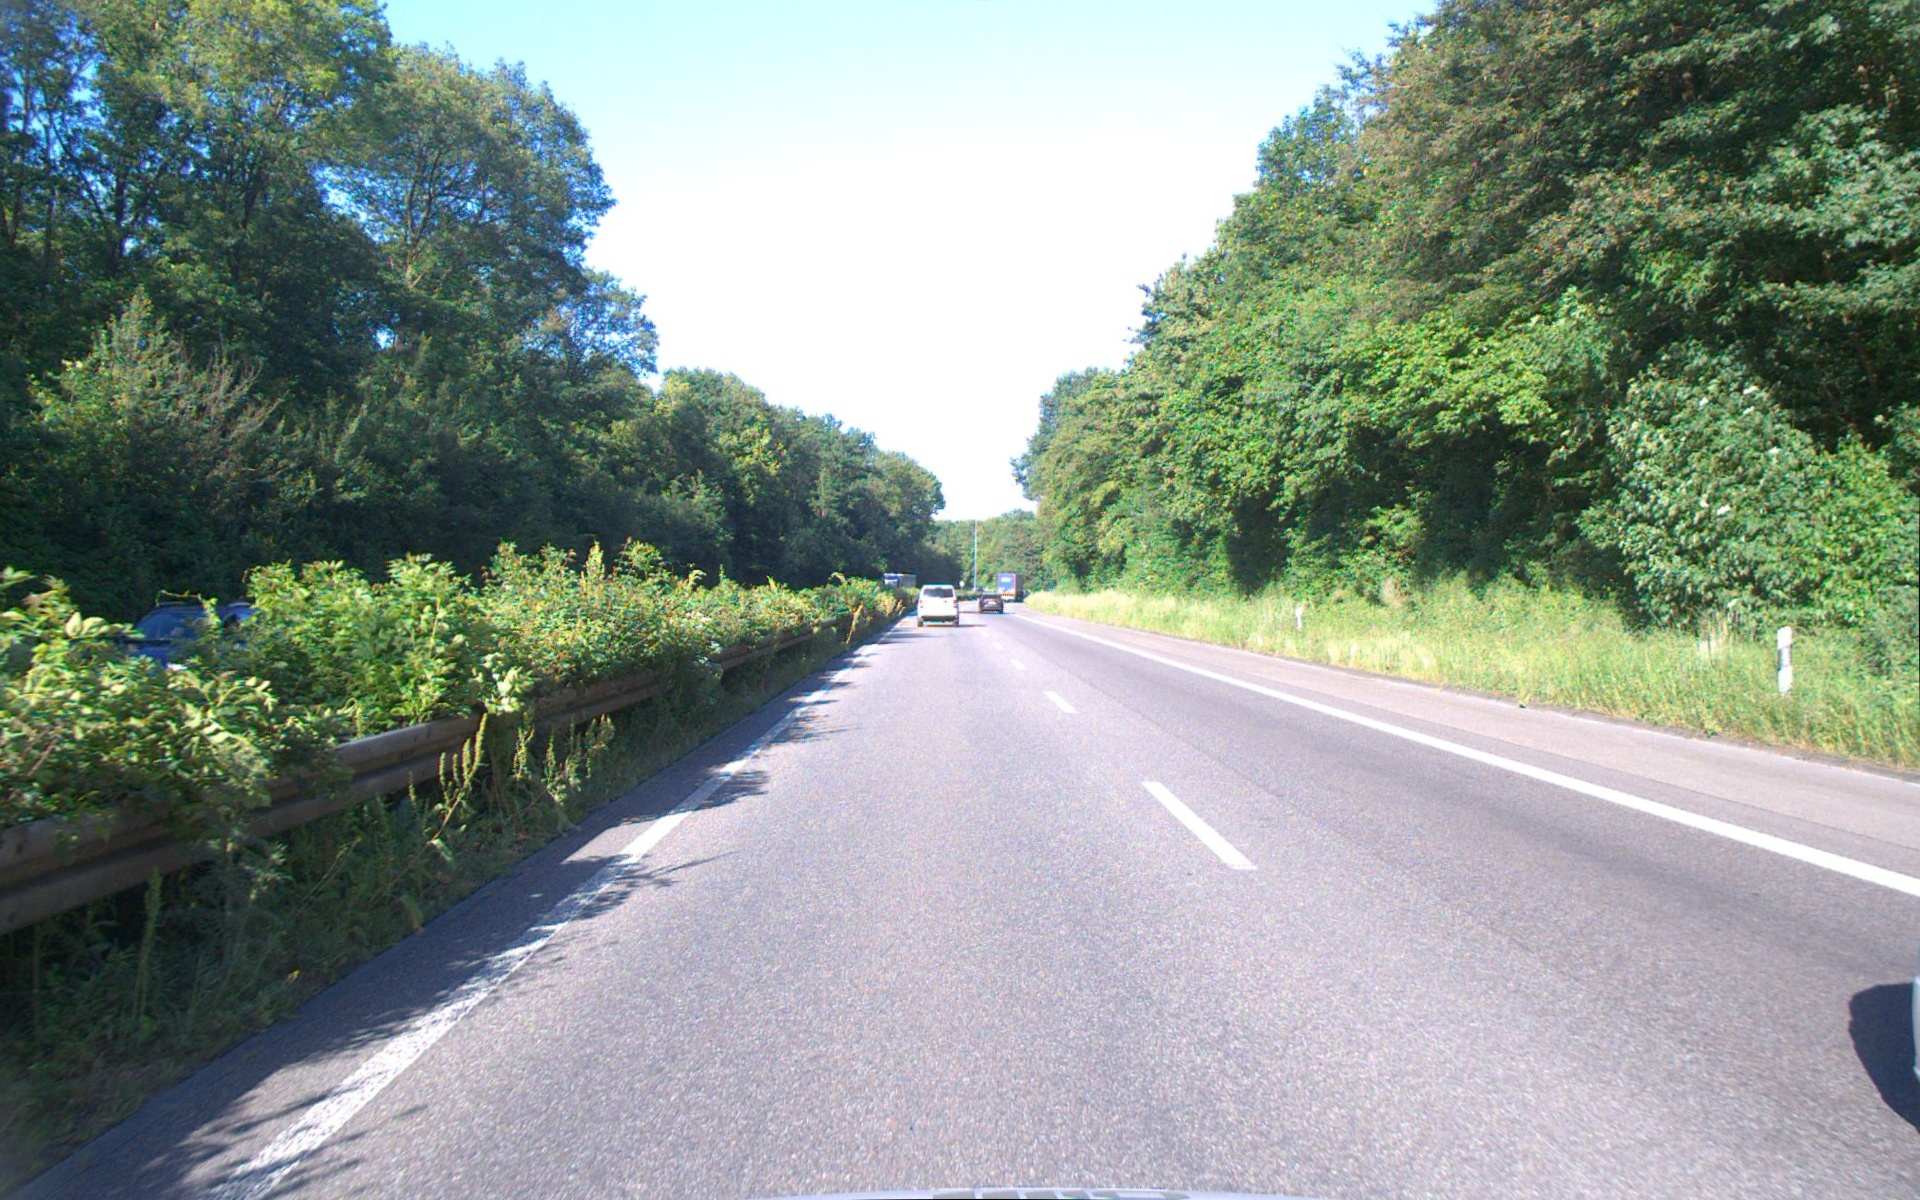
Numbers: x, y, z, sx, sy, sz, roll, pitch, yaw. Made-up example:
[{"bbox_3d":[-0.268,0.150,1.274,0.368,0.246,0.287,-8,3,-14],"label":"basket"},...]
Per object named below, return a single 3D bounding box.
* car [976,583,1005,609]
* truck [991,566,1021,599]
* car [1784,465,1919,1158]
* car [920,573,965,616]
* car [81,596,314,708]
[{"bbox_3d":[2.224,-0.275,120.326,1.912,1.813,4.586,1,0,-1],"label":"car"},{"bbox_3d":[6.513,-2.410,232.987,3.656,4.419,9.309,1,0,4],"label":"truck"},{"bbox_3d":[3.477,0.573,2.838,1.762,1.844,4.586,1,0,-1],"label":"car"},{"bbox_3d":[-0.813,-0.235,73.108,1.912,1.813,4.586,1,0,-1],"label":"car"},{"bbox_3d":[-11.766,0.749,25.839,1.809,1.602,3.999,1,0,-1],"label":"car"}]
